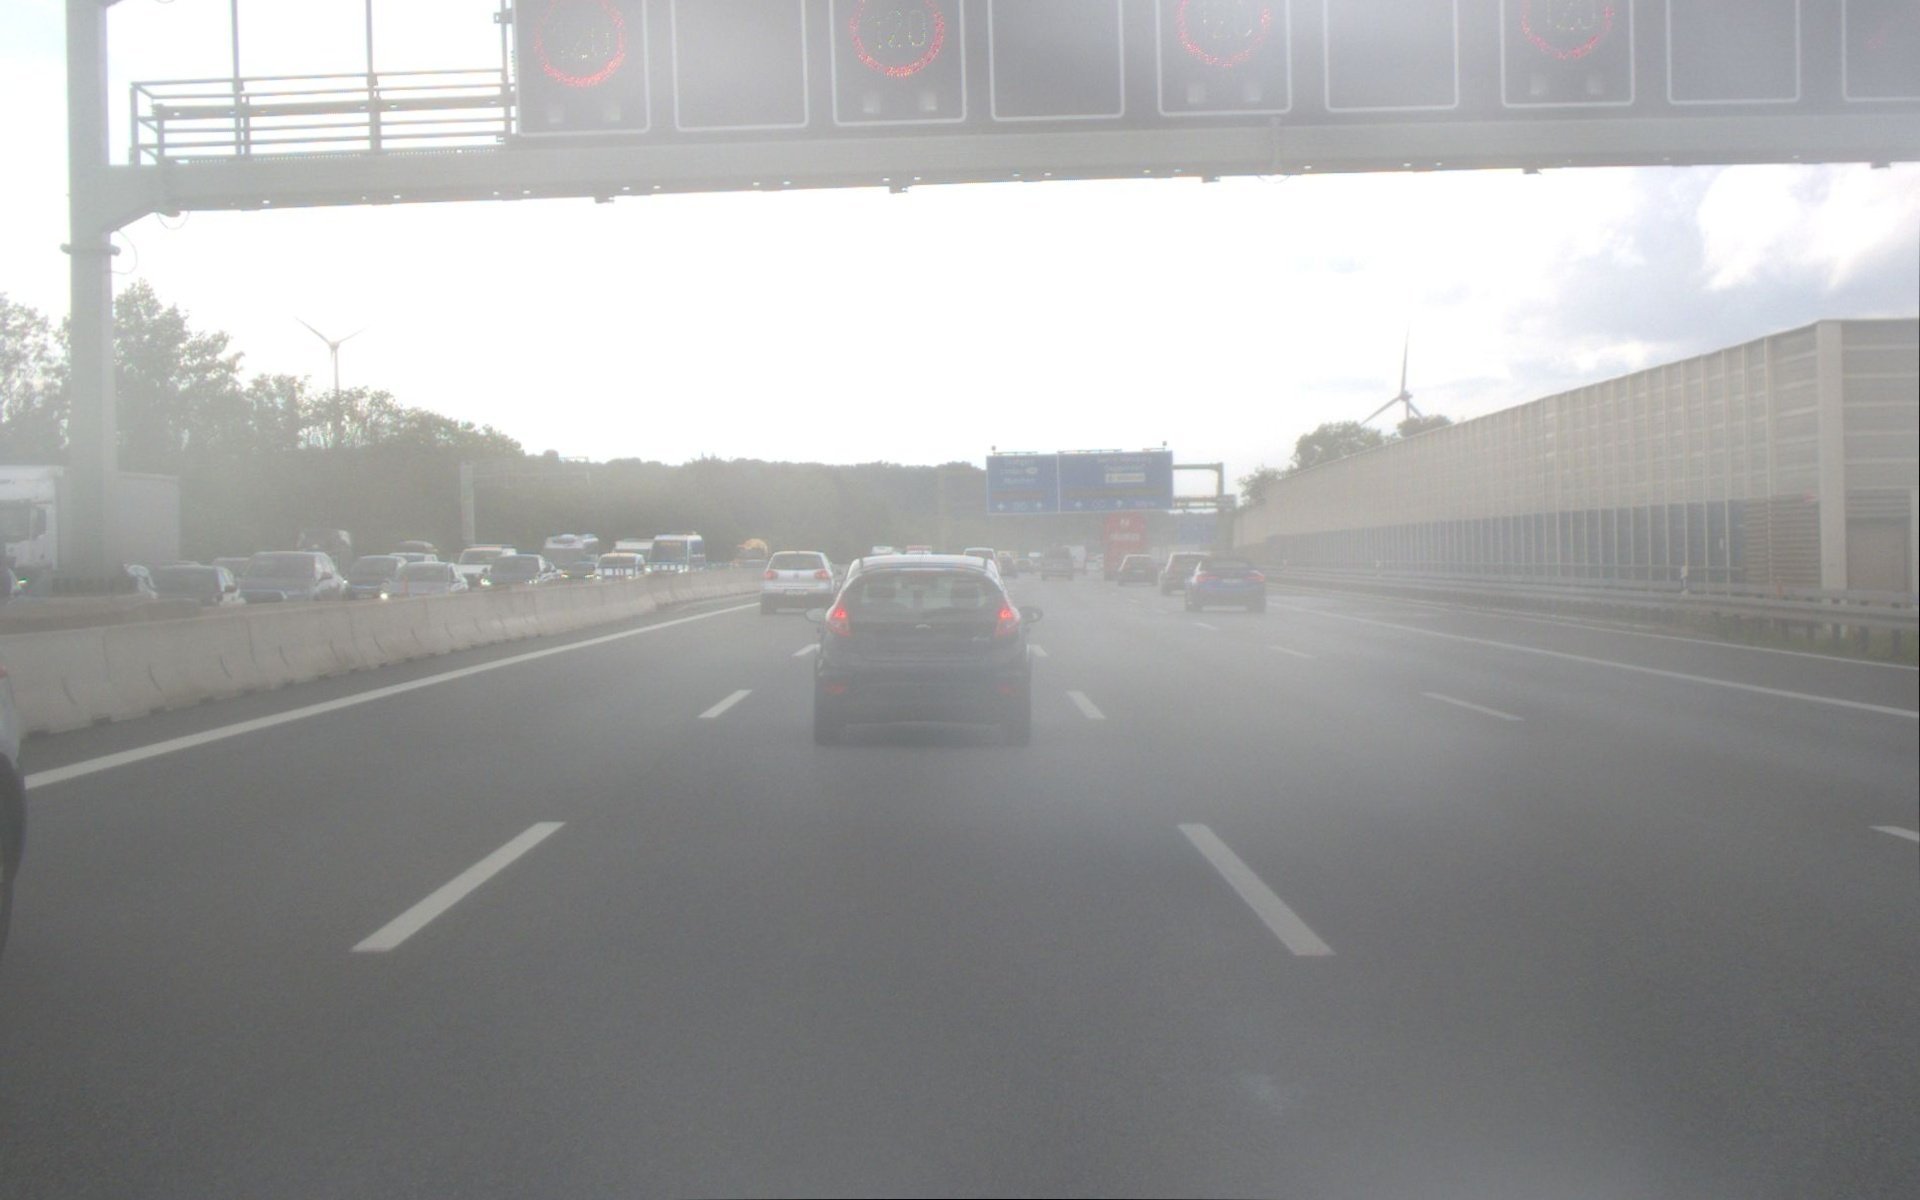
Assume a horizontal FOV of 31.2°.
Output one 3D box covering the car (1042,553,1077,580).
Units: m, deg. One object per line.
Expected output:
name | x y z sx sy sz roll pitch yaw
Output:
car | 5.899 -1.984 203.527 1.968 1.555 4.433 -1 0 1

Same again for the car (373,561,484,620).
car | -14.197 -0.277 92.163 2.060 1.529 5.470 0 1 1

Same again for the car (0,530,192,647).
car | -14.504 -0.213 57.648 2.060 1.873 4.997 0 1 1

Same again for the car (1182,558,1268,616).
car | 6.643 -0.328 86.637 1.950 1.413 4.232 0 0 2

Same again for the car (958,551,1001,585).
car | 0.934 -1.475 160.624 1.968 1.555 4.433 -1 0 1

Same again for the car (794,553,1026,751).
car | -0.377 0.356 27.545 1.717 1.412 4.279 0 1 0

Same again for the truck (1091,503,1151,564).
truck | 9.781 -4.069 210.021 3.152 3.589 12.699 1 1 1

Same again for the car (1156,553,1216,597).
car | 8.065 -0.879 122.963 1.882 1.537 4.433 -1 0 1

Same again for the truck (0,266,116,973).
truck | -4.397 0.104 10.072 2.306 2.431 7.149 0 1 -2

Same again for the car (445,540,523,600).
car | -18.121 -1.137 131.102 2.060 2.228 5.894 0 1 1

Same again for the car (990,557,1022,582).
car | 2.973 -1.978 224.748 1.968 1.555 4.433 -1 0 0

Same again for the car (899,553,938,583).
car | -2.227 -1.687 183.945 1.968 1.555 4.433 -1 0 1

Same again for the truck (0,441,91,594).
truck | -25.856 -2.221 93.481 2.972 4.021 5.726 0 1 1

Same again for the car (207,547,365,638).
car | -14.375 -0.191 73.679 2.060 1.873 6.328 0 1 1

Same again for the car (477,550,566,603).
car | -13.777 -0.751 108.358 2.060 1.640 5.380 0 1 1

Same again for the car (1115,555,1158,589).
car | 8.347 -1.318 162.912 1.882 1.555 4.433 -1 0 1

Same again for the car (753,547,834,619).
car | -3.923 -0.419 81.617 1.717 1.618 4.279 0 1 0
